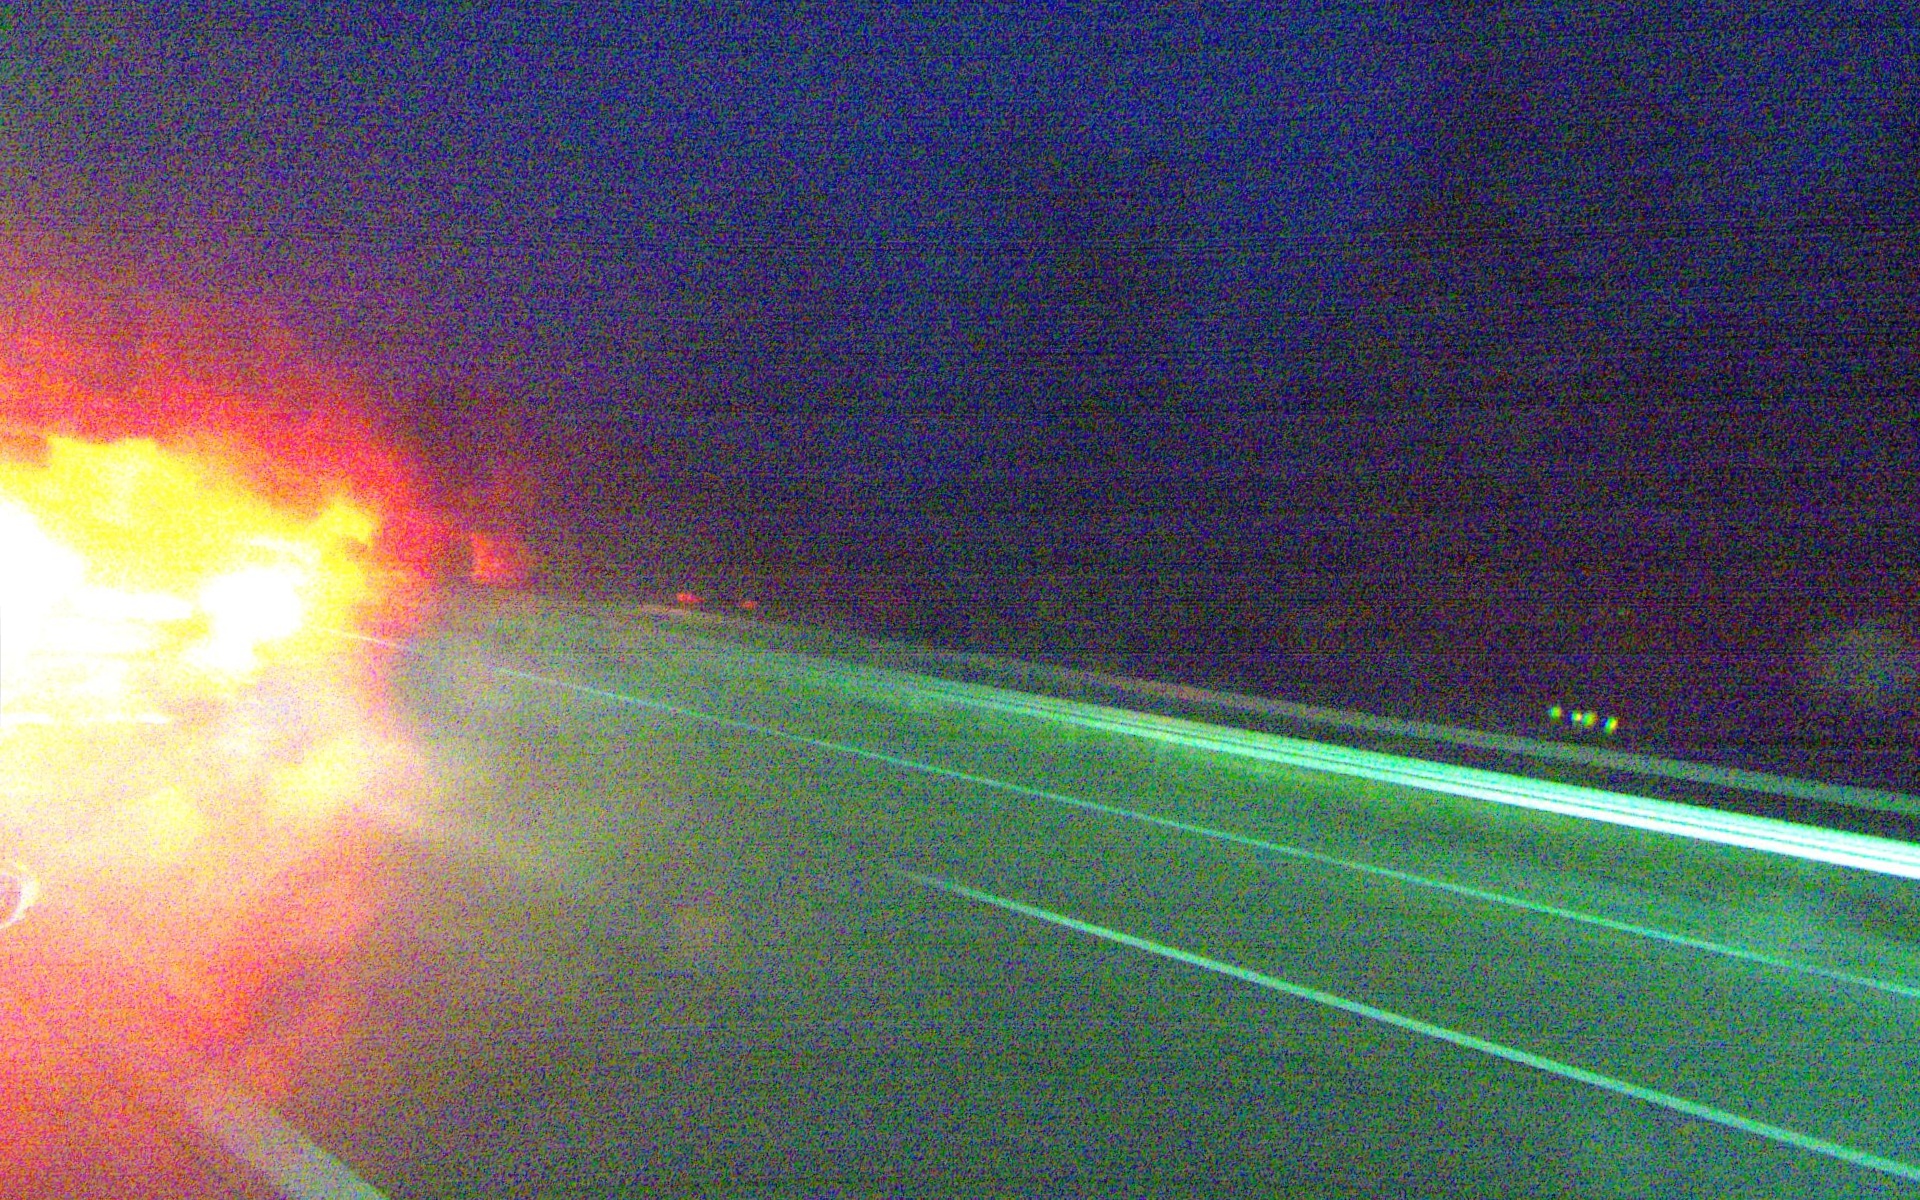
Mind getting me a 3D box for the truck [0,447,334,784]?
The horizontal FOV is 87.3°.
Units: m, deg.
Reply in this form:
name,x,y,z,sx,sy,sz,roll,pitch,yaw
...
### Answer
name,x,y,z,sx,sy,sz,roll,pitch,yaw
truck,-6.605,-0.076,6.910,4.774,1.716,1.847,6,-2,32
